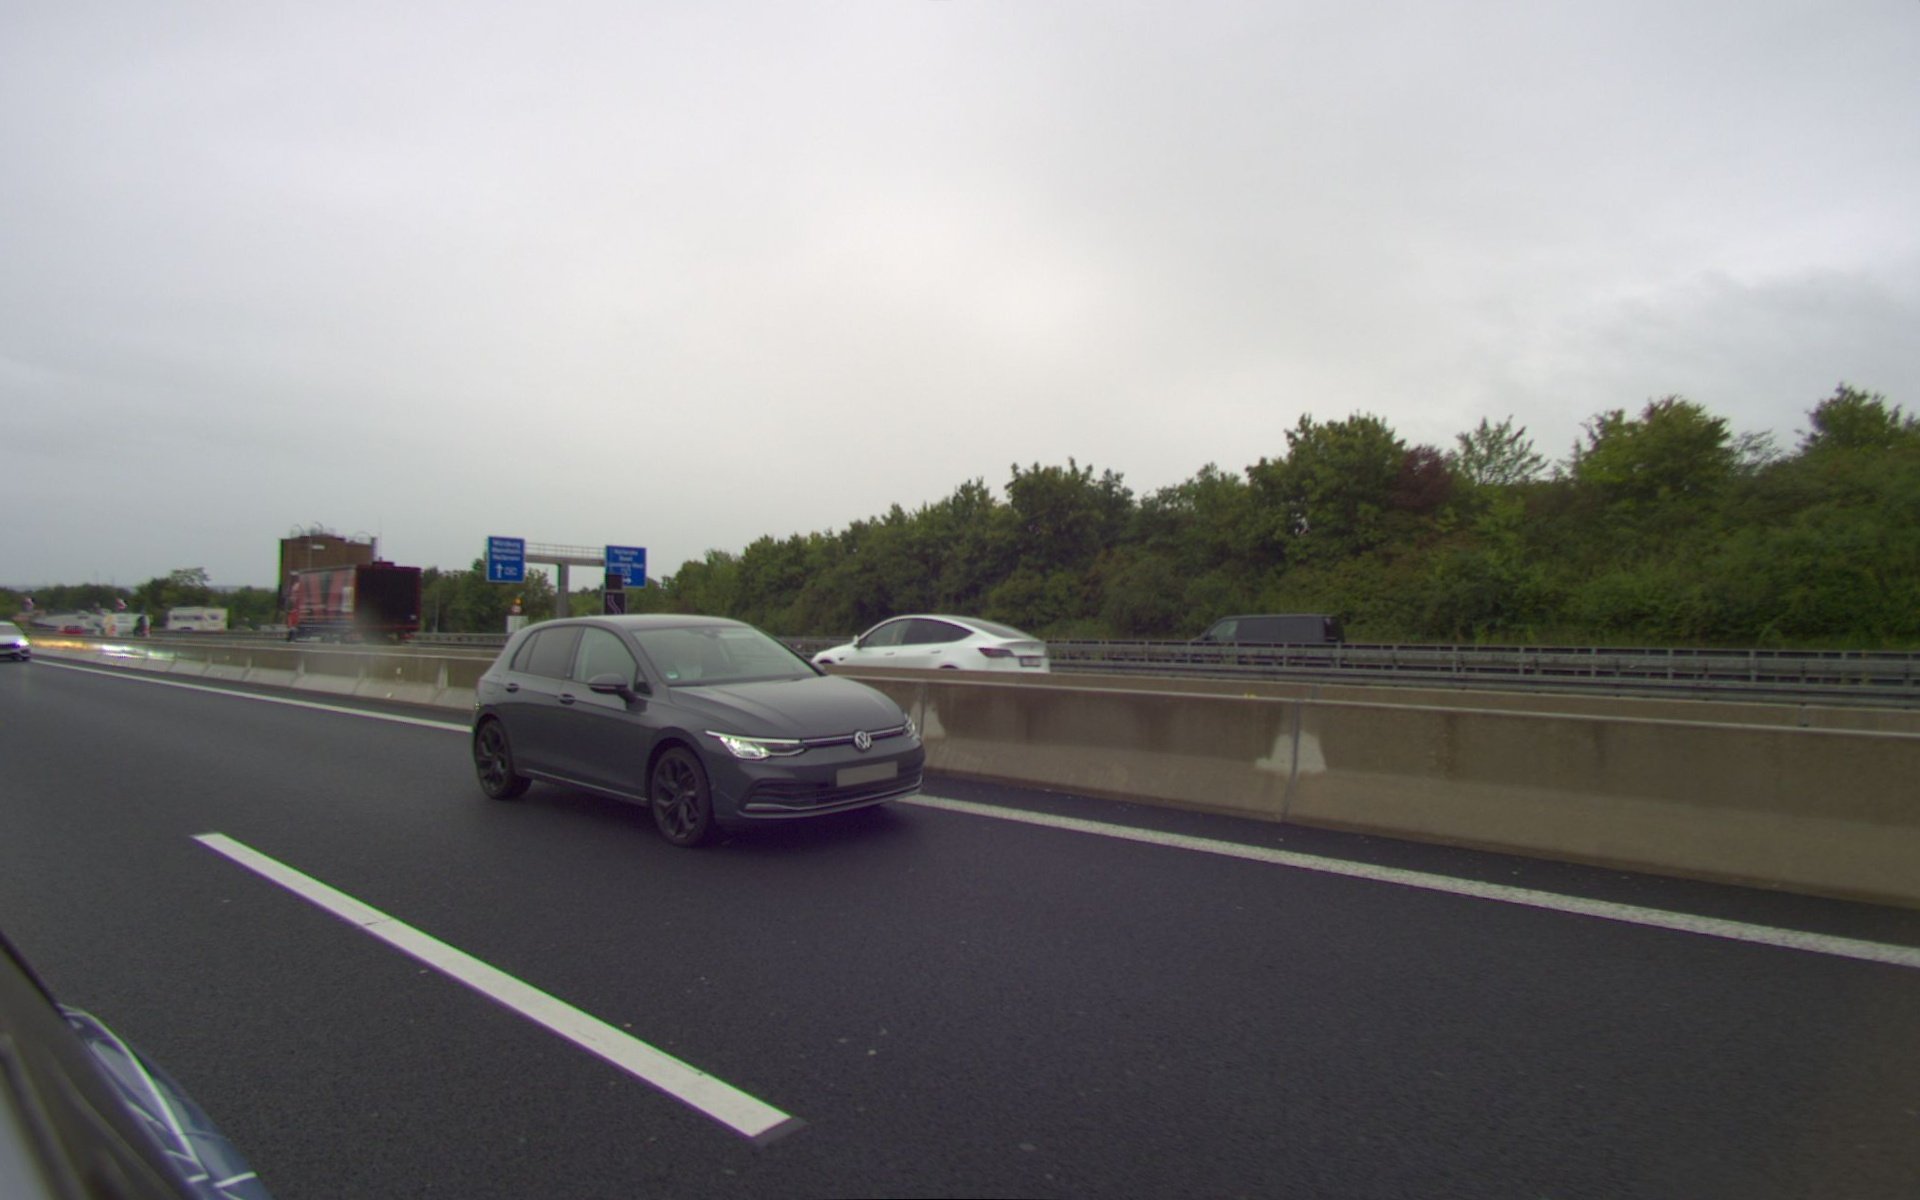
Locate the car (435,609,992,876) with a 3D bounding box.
[{"bbox_3d":[-2.041,0.831,7.603,4.363,1.436,1.812,-2,-1,39],"label":"car"}]

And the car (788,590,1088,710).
[{"bbox_3d":[-0.487,0.787,17.308,4.955,1.779,2.134,-1,-1,39],"label":"car"}]

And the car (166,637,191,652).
[{"bbox_3d":[-87.673,4.968,113.519,4.048,1.495,1.554,-1,0,44],"label":"car"}]

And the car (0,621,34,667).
[{"bbox_3d":[-36.035,1.615,37.593,4.815,1.603,1.972,-1,-1,42],"label":"car"}]

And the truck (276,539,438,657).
[{"bbox_3d":[-27.495,0.013,45.831,10.483,4.769,3.363,-2,-1,42],"label":"truck"}]

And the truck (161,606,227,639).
[{"bbox_3d":[-94.061,2.760,124.092,17.128,3.837,3.144,-2,-1,42],"label":"truck"}]

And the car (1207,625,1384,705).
[{"bbox_3d":[9.107,1.704,27.679,4.275,2.029,1.656,-1,-2,42],"label":"car"}]

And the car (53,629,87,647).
[{"bbox_3d":[-80.845,3.454,91.901,4.579,1.564,1.706,-1,0,40],"label":"car"}]

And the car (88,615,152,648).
[{"bbox_3d":[-49.738,1.860,59.865,5.217,1.877,1.973,-1,-3,40],"label":"car"}]

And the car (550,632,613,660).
[{"bbox_3d":[-20.587,2.485,54.978,3.998,1.409,1.507,-1,-1,41],"label":"car"}]
